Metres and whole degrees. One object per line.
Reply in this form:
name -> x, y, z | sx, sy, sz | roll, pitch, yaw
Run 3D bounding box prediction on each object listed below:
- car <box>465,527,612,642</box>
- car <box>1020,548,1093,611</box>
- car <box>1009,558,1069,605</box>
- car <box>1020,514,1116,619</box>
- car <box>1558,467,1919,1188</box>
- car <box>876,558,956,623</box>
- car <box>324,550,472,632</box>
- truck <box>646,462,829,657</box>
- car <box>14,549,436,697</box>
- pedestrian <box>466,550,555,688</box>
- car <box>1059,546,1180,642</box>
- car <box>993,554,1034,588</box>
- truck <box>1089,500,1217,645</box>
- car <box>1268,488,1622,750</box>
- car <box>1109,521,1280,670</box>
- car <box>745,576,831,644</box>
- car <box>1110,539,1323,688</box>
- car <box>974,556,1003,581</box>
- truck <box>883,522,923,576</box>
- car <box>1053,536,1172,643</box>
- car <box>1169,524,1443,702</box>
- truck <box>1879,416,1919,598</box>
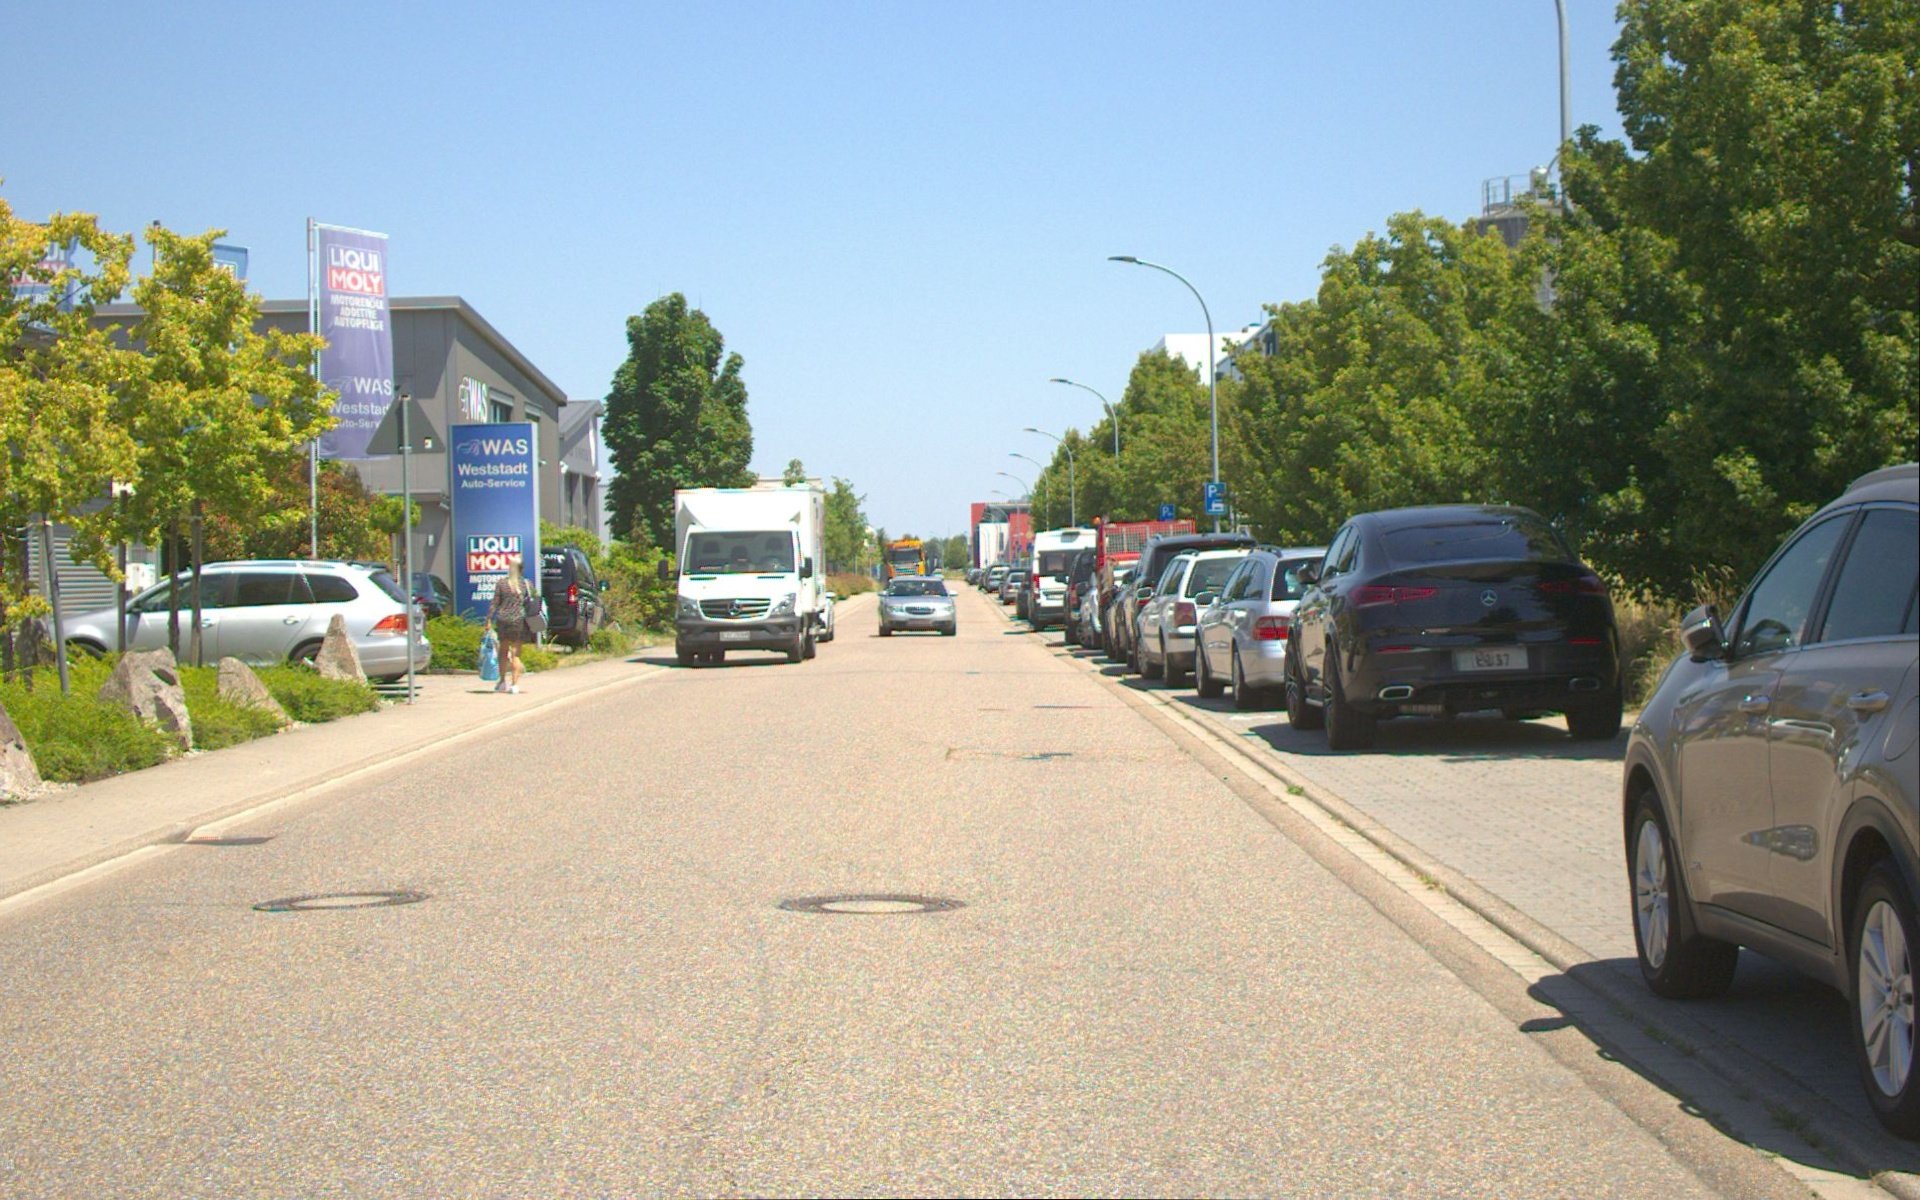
car -> -7.497, -0.278, 61.624 | 1.993, 1.950, 5.218 | -1, 0, 0
car -> 2.919, -0.615, 104.649 | 1.993, 1.819, 4.354 | -2, 0, -1
car -> 2.703, -0.639, 117.054 | 1.709, 1.499, 4.705 | -2, 0, 5
car -> 2.737, -0.857, 87.549 | 2.267, 2.489, 6.151 | -2, 0, 2
car -> 3.018, 0.439, 9.616 | 1.804, 1.630, 4.458 | -3, 1, 0
car -> -1.045, -0.225, 82.430 | 1.783, 1.417, 4.414 | -4, 0, -1
car -> -10.147, -0.173, 62.412 | 1.931, 1.411, 4.769 | 0, 0, 0
truck -> -3.526, -0.637, 55.772 | 2.361, 2.850, 6.415 | -3, 0, 0
car -> -8.084, 0.237, 38.079 | 4.262, 1.513, 1.866 | -1, 1, -1
pedestrian -> -5.170, 0.209, 39.601 | 0.899, 1.569, 0.785 | 0, 1, 1
car -> 2.770, -0.112, 60.329 | 1.738, 1.525, 4.000 | -3, 0, -2
car -> 2.381, -1.316, 153.912 | 1.718, 1.445, 3.646 | -2, 1, 0
truck -> 3.099, -0.449, 55.923 | 1.679, 2.174, 4.390 | -3, 0, -1
car -> 3.527, 0.091, 25.824 | 1.949, 1.695, 4.545 | -3, 1, 0
car -> 2.969, -0.096, 44.388 | 1.811, 1.719, 4.774 | -3, 1, 0
car -> -3.843, 0.207, 77.325 | 1.730, 1.453, 4.492 | -1, 0, 0
car -> 2.827, 0.109, 38.829 | 1.713, 1.478, 4.774 | -3, 1, -3
car -> 1.673, -1.856, 200.992 | 1.585, 1.405, 3.500 | -2, 1, 0
truck -> -3.813, -3.462, 232.326 | 2.448, 3.501, 8.273 | -3, 1, 0
car -> 2.888, -0.214, 66.189 | 1.993, 1.878, 5.155 | -3, 0, 0
car -> 3.212, 0.082, 32.808 | 1.804, 1.478, 4.774 | -3, 1, -3
truck -> 22.845, -2.040, 74.374 | 5.062, 3.862, 2.804 | -1, 0, 1
